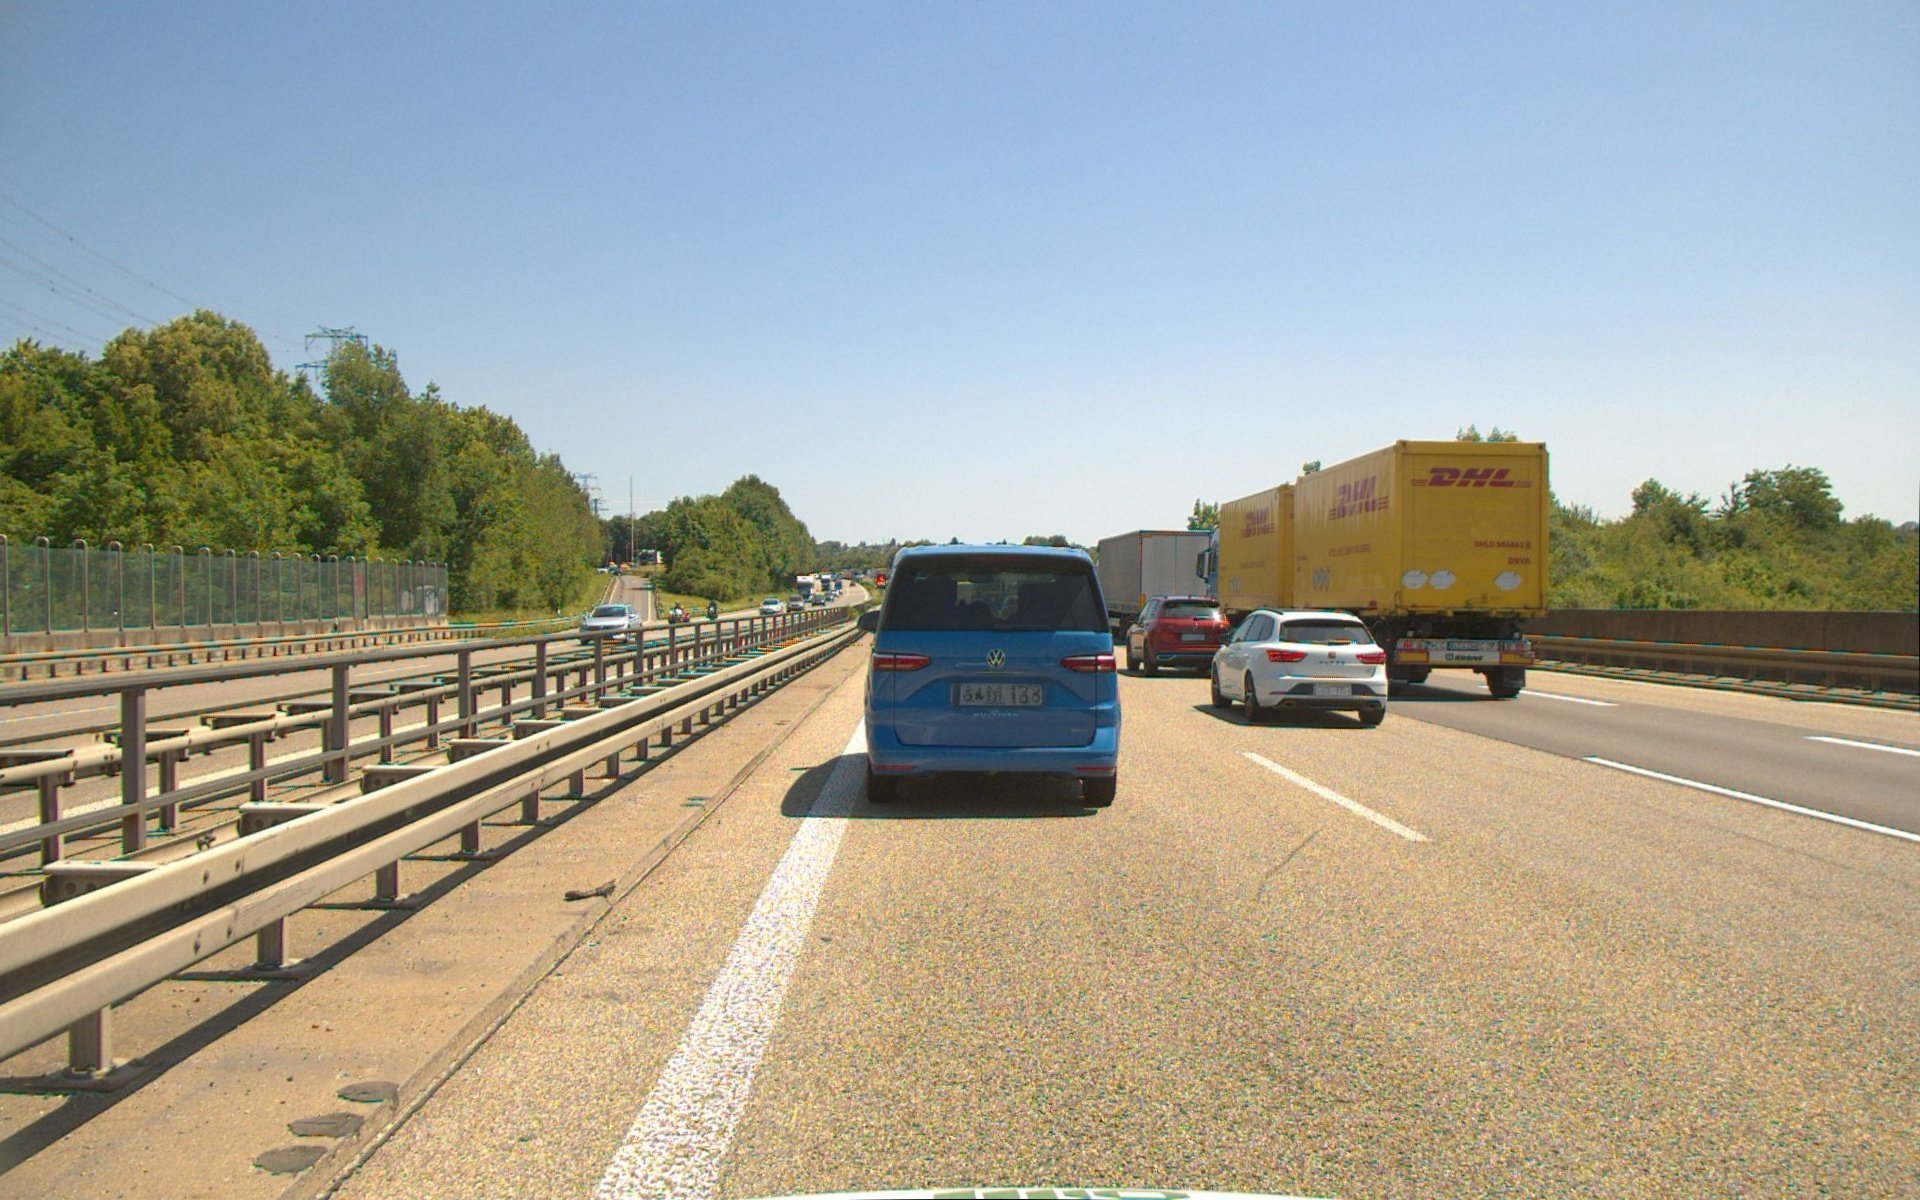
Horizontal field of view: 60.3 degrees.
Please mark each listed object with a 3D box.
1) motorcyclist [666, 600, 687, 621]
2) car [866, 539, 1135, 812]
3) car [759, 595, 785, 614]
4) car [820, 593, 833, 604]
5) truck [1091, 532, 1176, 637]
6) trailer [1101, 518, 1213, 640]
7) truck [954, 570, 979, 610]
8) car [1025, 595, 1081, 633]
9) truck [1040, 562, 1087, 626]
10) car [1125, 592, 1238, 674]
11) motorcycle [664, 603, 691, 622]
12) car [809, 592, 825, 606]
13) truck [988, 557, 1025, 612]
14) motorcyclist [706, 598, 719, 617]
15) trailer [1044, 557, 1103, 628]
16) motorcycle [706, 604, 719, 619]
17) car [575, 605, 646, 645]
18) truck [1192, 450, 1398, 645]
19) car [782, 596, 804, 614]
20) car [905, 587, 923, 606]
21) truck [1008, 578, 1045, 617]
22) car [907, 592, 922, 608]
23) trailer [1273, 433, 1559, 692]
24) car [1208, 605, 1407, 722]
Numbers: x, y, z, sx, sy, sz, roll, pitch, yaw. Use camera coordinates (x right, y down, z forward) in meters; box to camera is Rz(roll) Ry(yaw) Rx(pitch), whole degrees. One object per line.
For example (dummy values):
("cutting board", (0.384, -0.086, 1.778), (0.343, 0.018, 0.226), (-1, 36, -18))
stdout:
("motorcyclist", (-18.279, 0.695, 106.658), (1.162, 1.278, 1.118), (-3, 0, -2))
("car", (0.251, 0.518, 13.350), (1.844, 1.869, 3.999), (0, 0, -1))
("car", (-15.502, 0.361, 136.747), (1.681, 1.459, 4.174), (-3, 0, -1))
("car", (-20.798, -0.259, 257.134), (1.792, 1.637, 4.167), (-1, 0, -2))
("truck", (7.247, -0.587, 69.992), (2.712, 4.167, 6.982), (1, -1, -1))
("trailer", (7.356, -0.695, 63.420), (2.699, 4.219, 11.308), (1, -1, -1))
("truck", (0.880, -1.290, 233.741), (2.777, 5.467, 12.548), (1, -1, -2))
("car", (3.601, 0.515, 64.762), (1.801, 1.438, 3.998), (0, 0, -3))
("truck", (6.332, -0.324, 101.621), (2.320, 3.787, 6.031), (1, -1, -2))
("car", (4.627, 0.657, 35.042), (1.813, 1.636, 3.999), (0, 0, -1))
("motorcycle", (-18.268, 0.815, 106.967), (1.338, 1.118, 2.575), (-3, 0, -1))
("car", (-18.396, -0.107, 212.877), (1.793, 1.637, 4.167), (-3, 0, -2))
("truck", (4.501, -1.421, 161.192), (2.777, 5.128, 11.140), (1, -1, -2))
("motorcyclist", (-19.354, 0.571, 129.208), (0.880, 1.466, 1.082), (-1, 1, -2))
("trailer", (6.486, -0.356, 95.840), (2.331, 3.810, 11.184), (1, -1, -1))
("motorcycle", (-19.330, 0.879, 129.167), (0.687, 1.089, 2.305), (-1, 1, -1))
("car", (-13.378, 0.942, 63.490), (1.872, 1.418, 4.164), (-2, 0, -1))
("truck", (7.902, -1.076, 40.536), (2.667, 4.125, 10.332), (1, -1, -1))
("car", (-16.646, 0.464, 165.219), (1.793, 1.637, 4.167), (-3, 0, -2))
("car", (-5.219, -0.397, 187.345), (1.953, 2.049, 3.999), (1, -1, -1))
("truck", (5.692, -0.167, 142.880), (2.308, 3.275, 9.735), (1, -1, -2))
("car", (-6.131, 0.005, 222.055), (1.953, 2.049, 3.999), (1, -1, -1))
("trailer", (8.137, -0.558, 30.891), (2.647, 4.094, 8.927), (1, -1, -1))
("car", (4.546, 0.780, 22.228), (1.745, 1.411, 4.187), (0, 0, -1))
